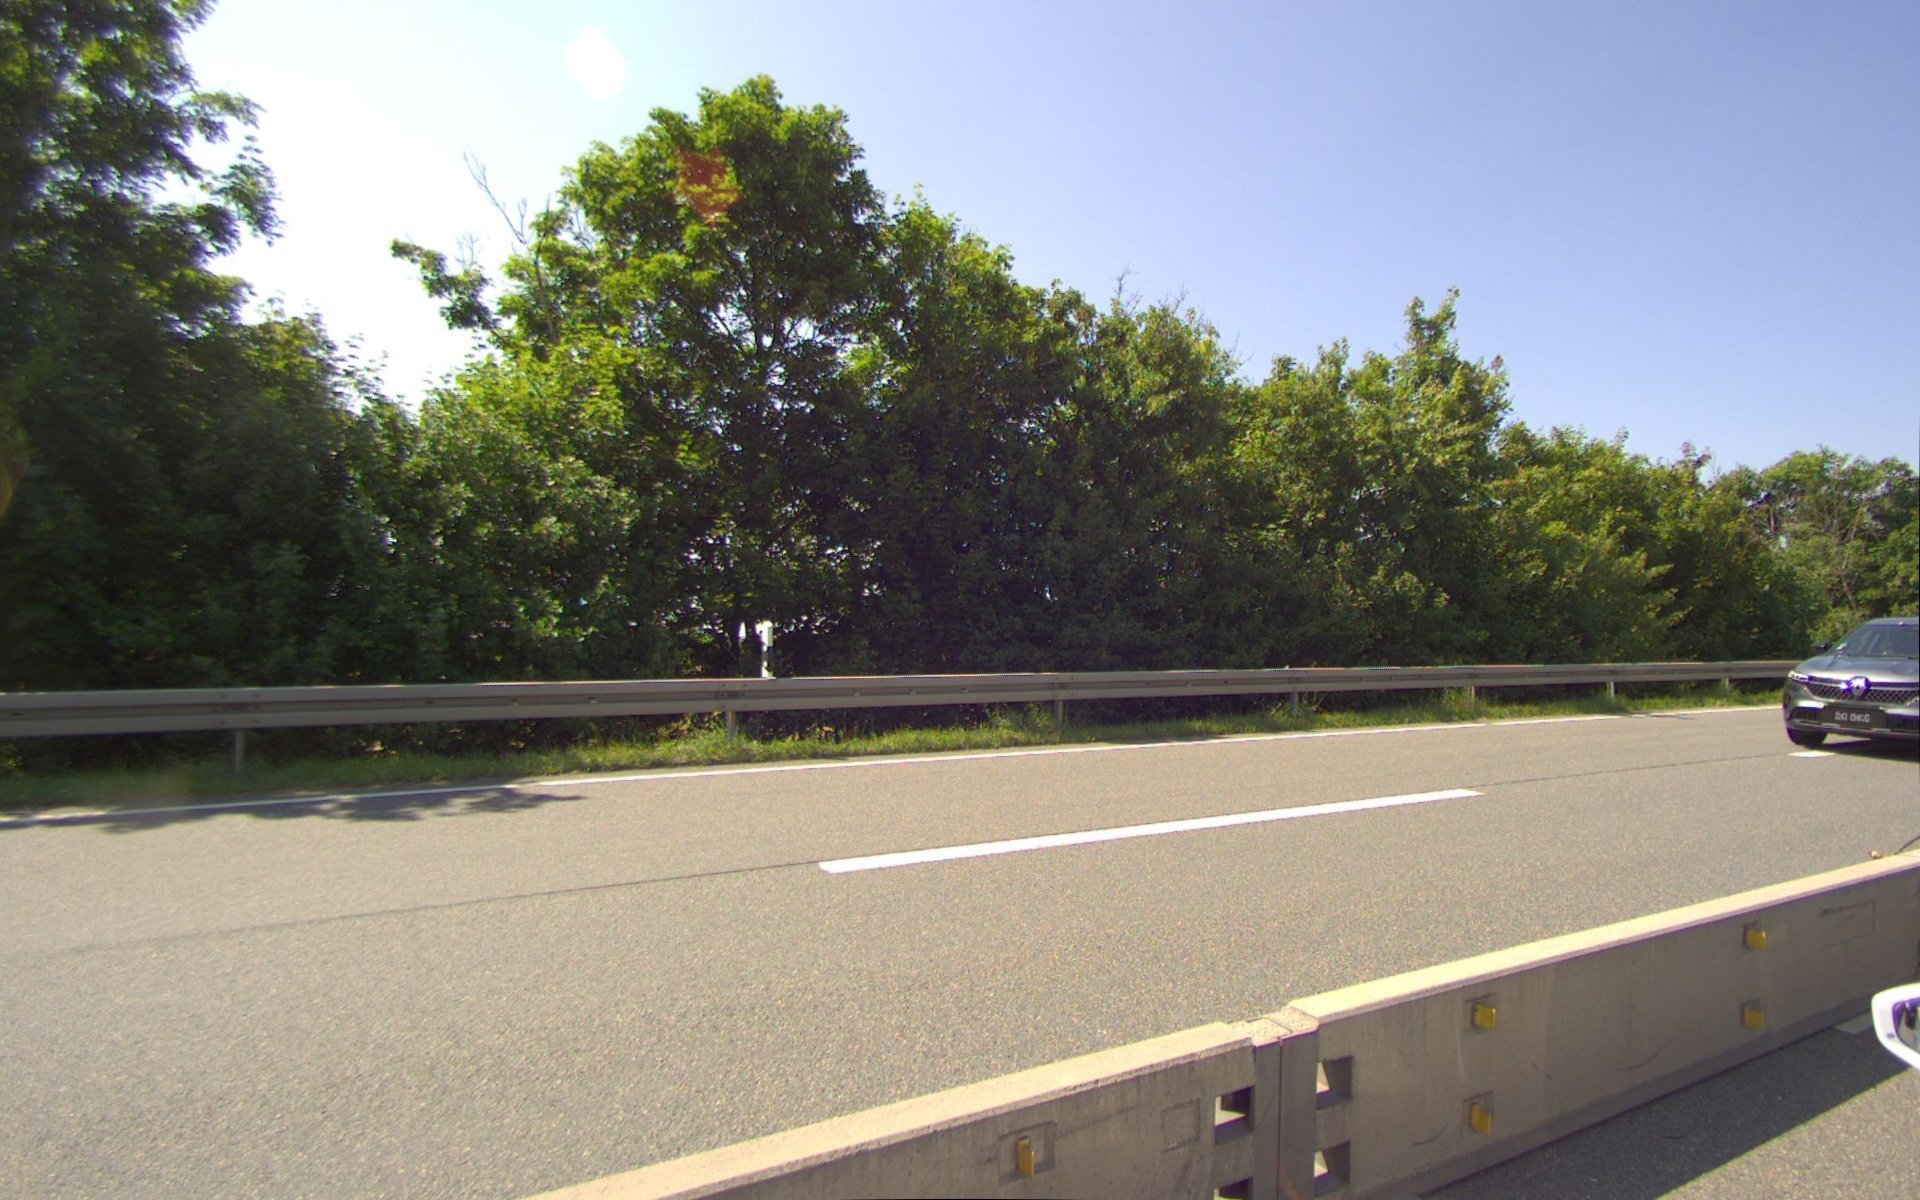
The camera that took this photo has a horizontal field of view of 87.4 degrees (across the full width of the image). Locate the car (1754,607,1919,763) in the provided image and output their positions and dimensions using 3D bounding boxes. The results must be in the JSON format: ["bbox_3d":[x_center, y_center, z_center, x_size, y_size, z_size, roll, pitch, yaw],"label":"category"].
[{"bbox_3d":[12.025,0.981,12.461,4.330,1.660,1.849,1,0,-29],"label":"car"}]
